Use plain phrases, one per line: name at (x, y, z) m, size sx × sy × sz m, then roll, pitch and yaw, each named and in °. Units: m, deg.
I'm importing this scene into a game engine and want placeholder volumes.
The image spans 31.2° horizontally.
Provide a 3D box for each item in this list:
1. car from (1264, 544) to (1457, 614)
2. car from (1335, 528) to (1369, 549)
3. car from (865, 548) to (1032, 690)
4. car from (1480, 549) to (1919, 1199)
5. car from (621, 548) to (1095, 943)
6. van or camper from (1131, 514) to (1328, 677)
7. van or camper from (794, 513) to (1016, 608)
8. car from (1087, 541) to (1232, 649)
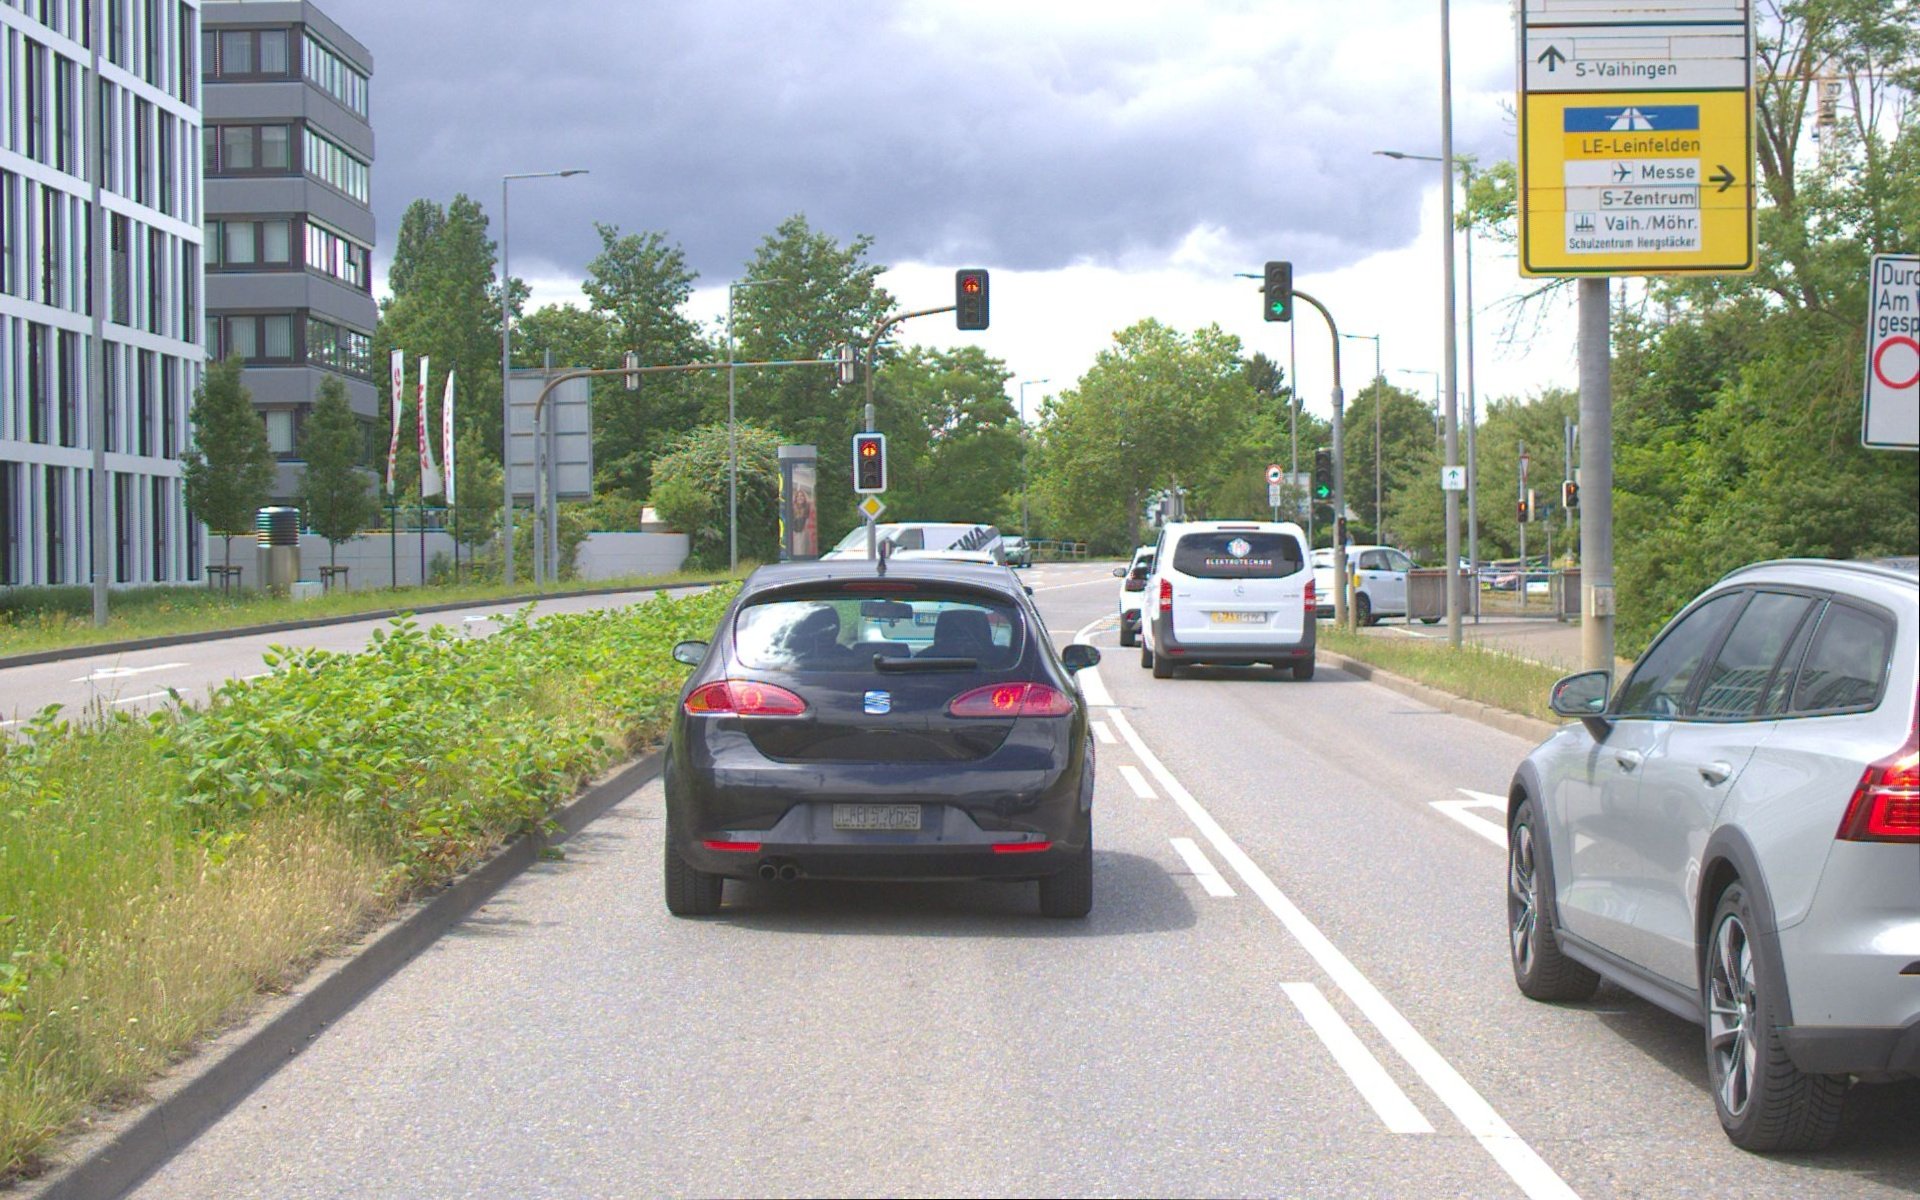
car at (7.838, -0.421, 67.343) m, size 3.378 × 1.341 × 1.690 m, roll 0°, pitch 1°, yaw -13°
car at (26.044, -4.112, 228.362) m, size 1.994 × 1.347 × 3.999 m, roll 1°, pitch 1°, yaw 10°
car at (-0.137, 0.177, 38.669) m, size 1.773 × 1.486 × 3.582 m, roll -1°, pitch 1°, yaw -1°
car at (2.769, 0.633, 9.533) m, size 1.863 × 1.513 × 4.447 m, roll -1°, pitch 1°, yaw -1°
car at (-0.340, 0.523, 14.819) m, size 1.773 × 1.447 × 3.582 m, roll 1°, pitch 1°, yaw 2°
van or camper at (3.193, -0.091, 41.610) m, size 1.993 × 1.853 × 4.944 m, roll 0°, pitch 1°, yaw 0°
van or camper at (-1.174, -0.880, 75.328) m, size 4.803 × 2.007 × 1.999 m, roll -1°, pitch 1°, yaw -44°
car at (3.094, -0.106, 53.999) m, size 1.993 × 1.626 × 4.000 m, roll 0°, pitch 1°, yaw -1°
